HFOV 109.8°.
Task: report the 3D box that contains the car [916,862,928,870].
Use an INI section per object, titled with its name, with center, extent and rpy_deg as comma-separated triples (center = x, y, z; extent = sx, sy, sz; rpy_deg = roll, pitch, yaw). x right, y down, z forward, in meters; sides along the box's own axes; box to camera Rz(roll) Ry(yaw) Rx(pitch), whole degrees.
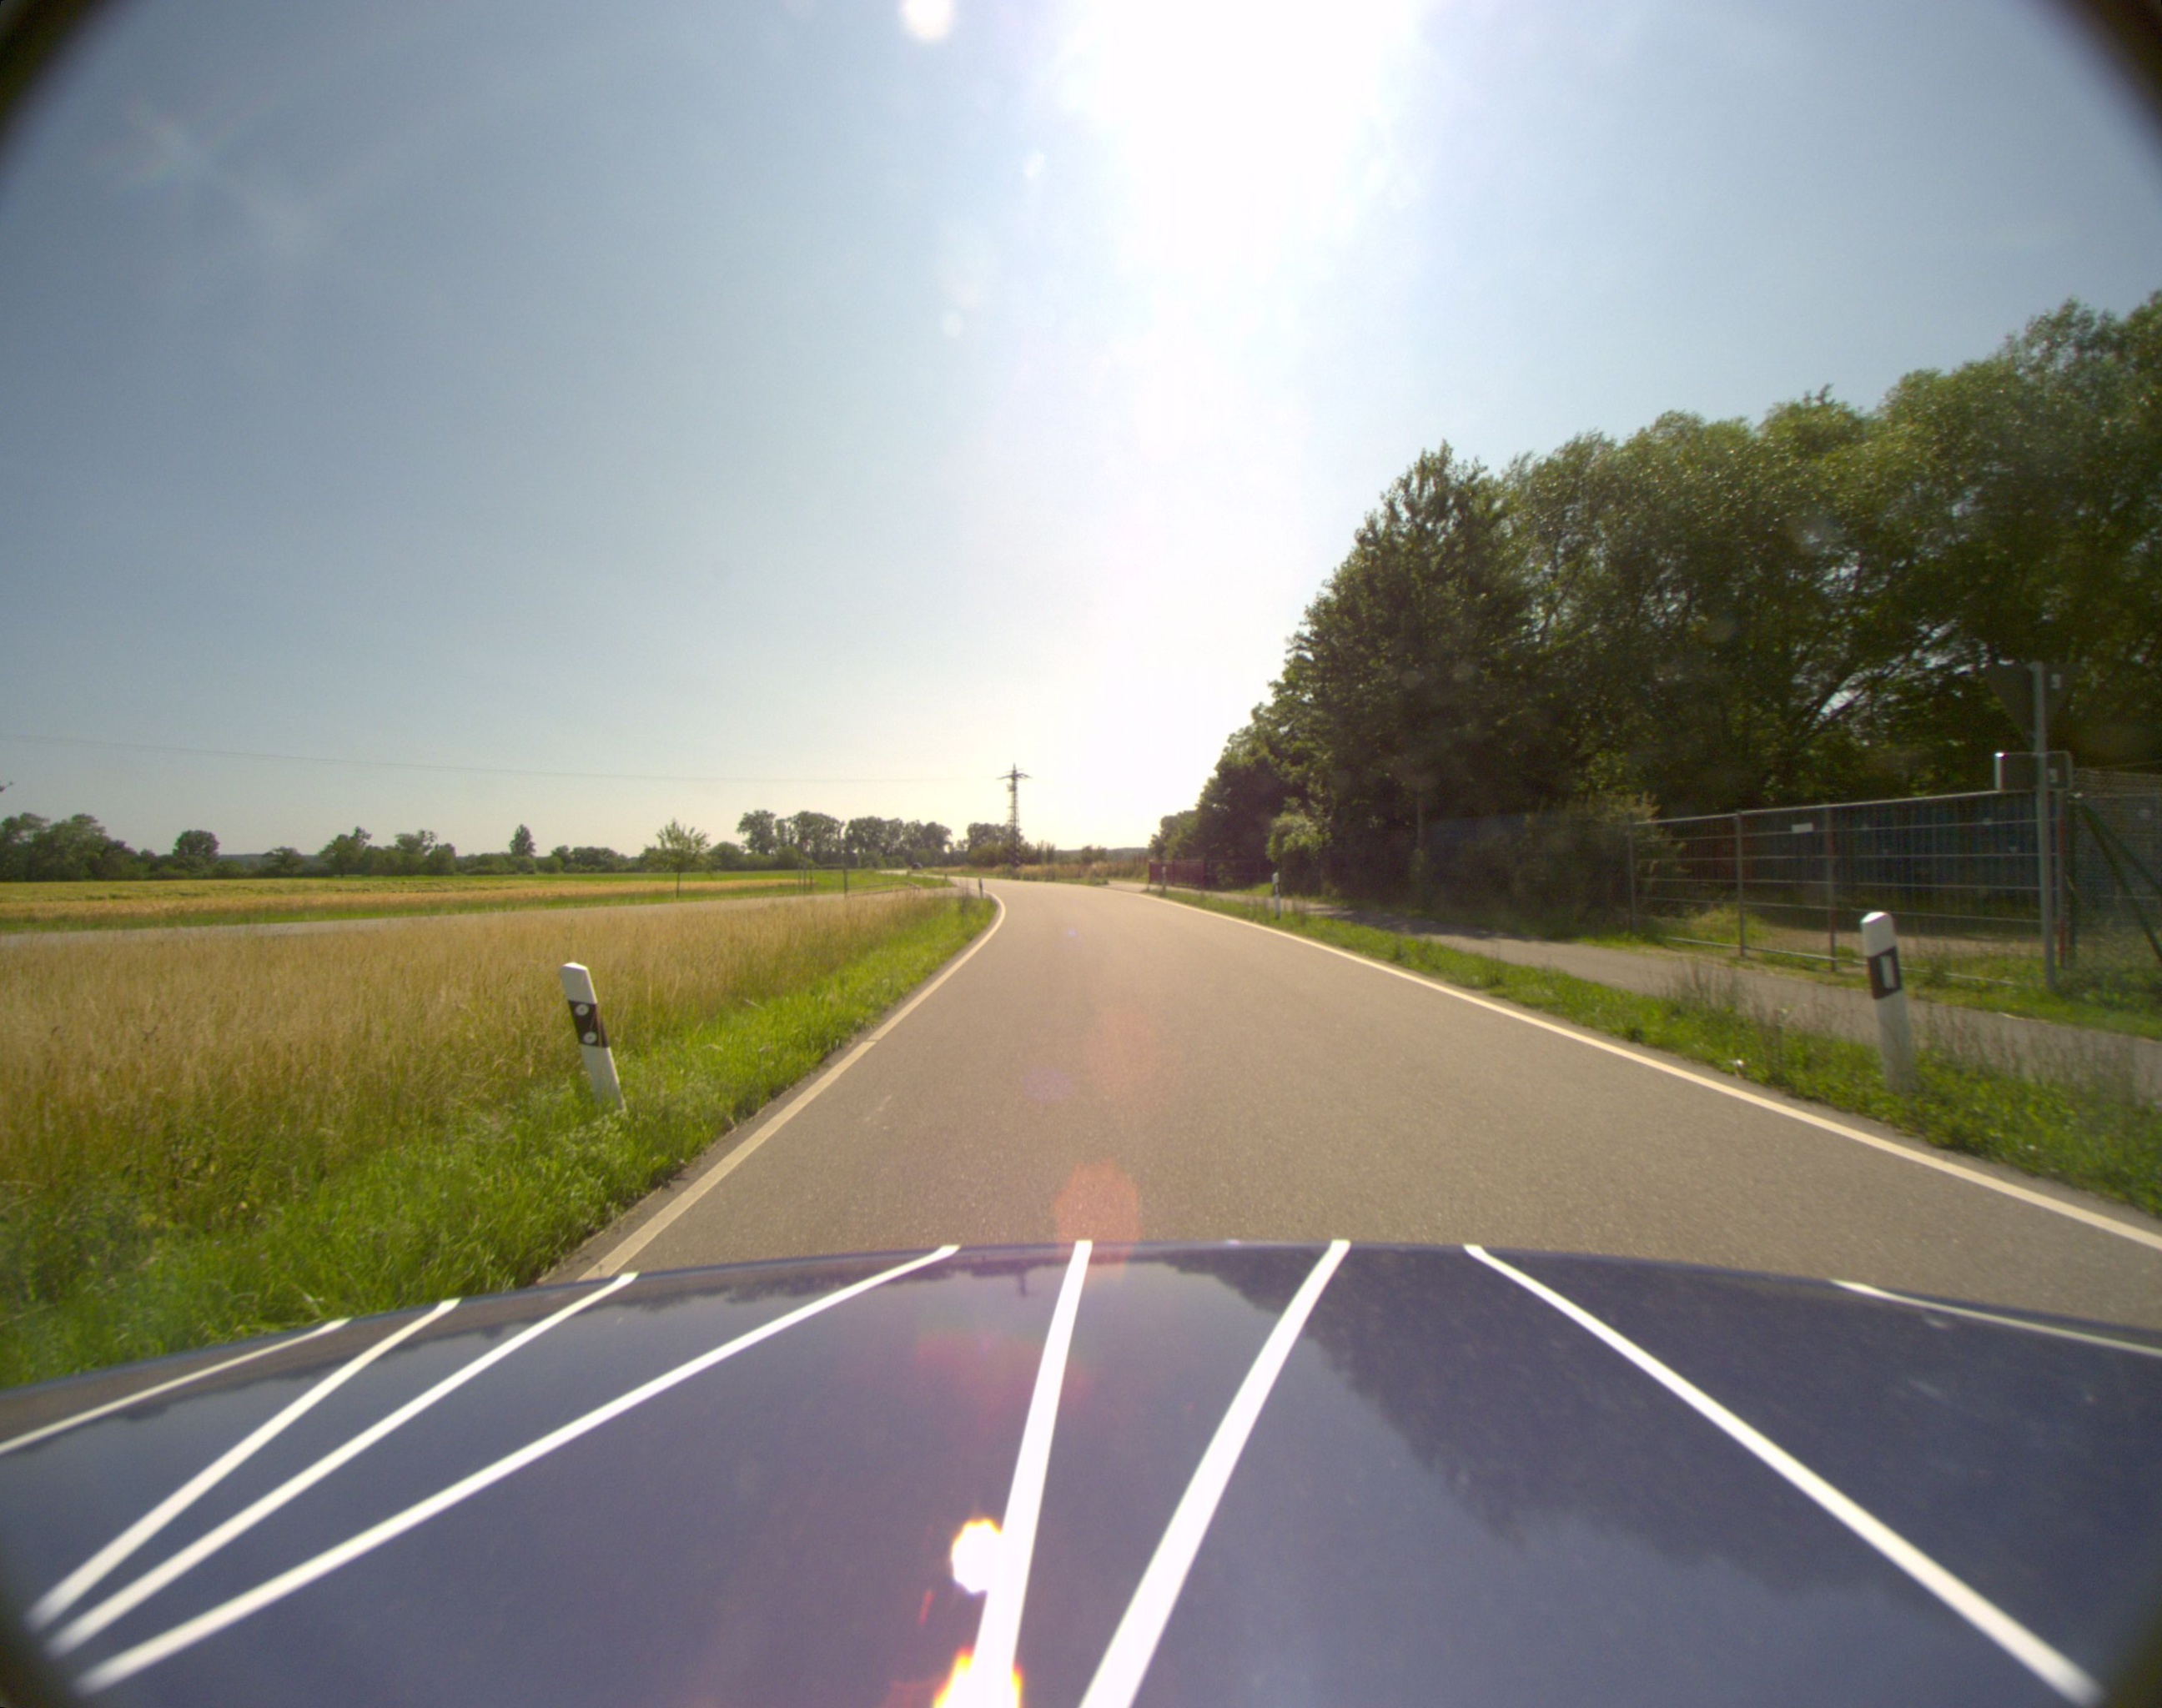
[car]
center = -37.274, 2.798, 178.138
extent = 1.870, 1.742, 4.297
rpy_deg = 0, 0, 1
